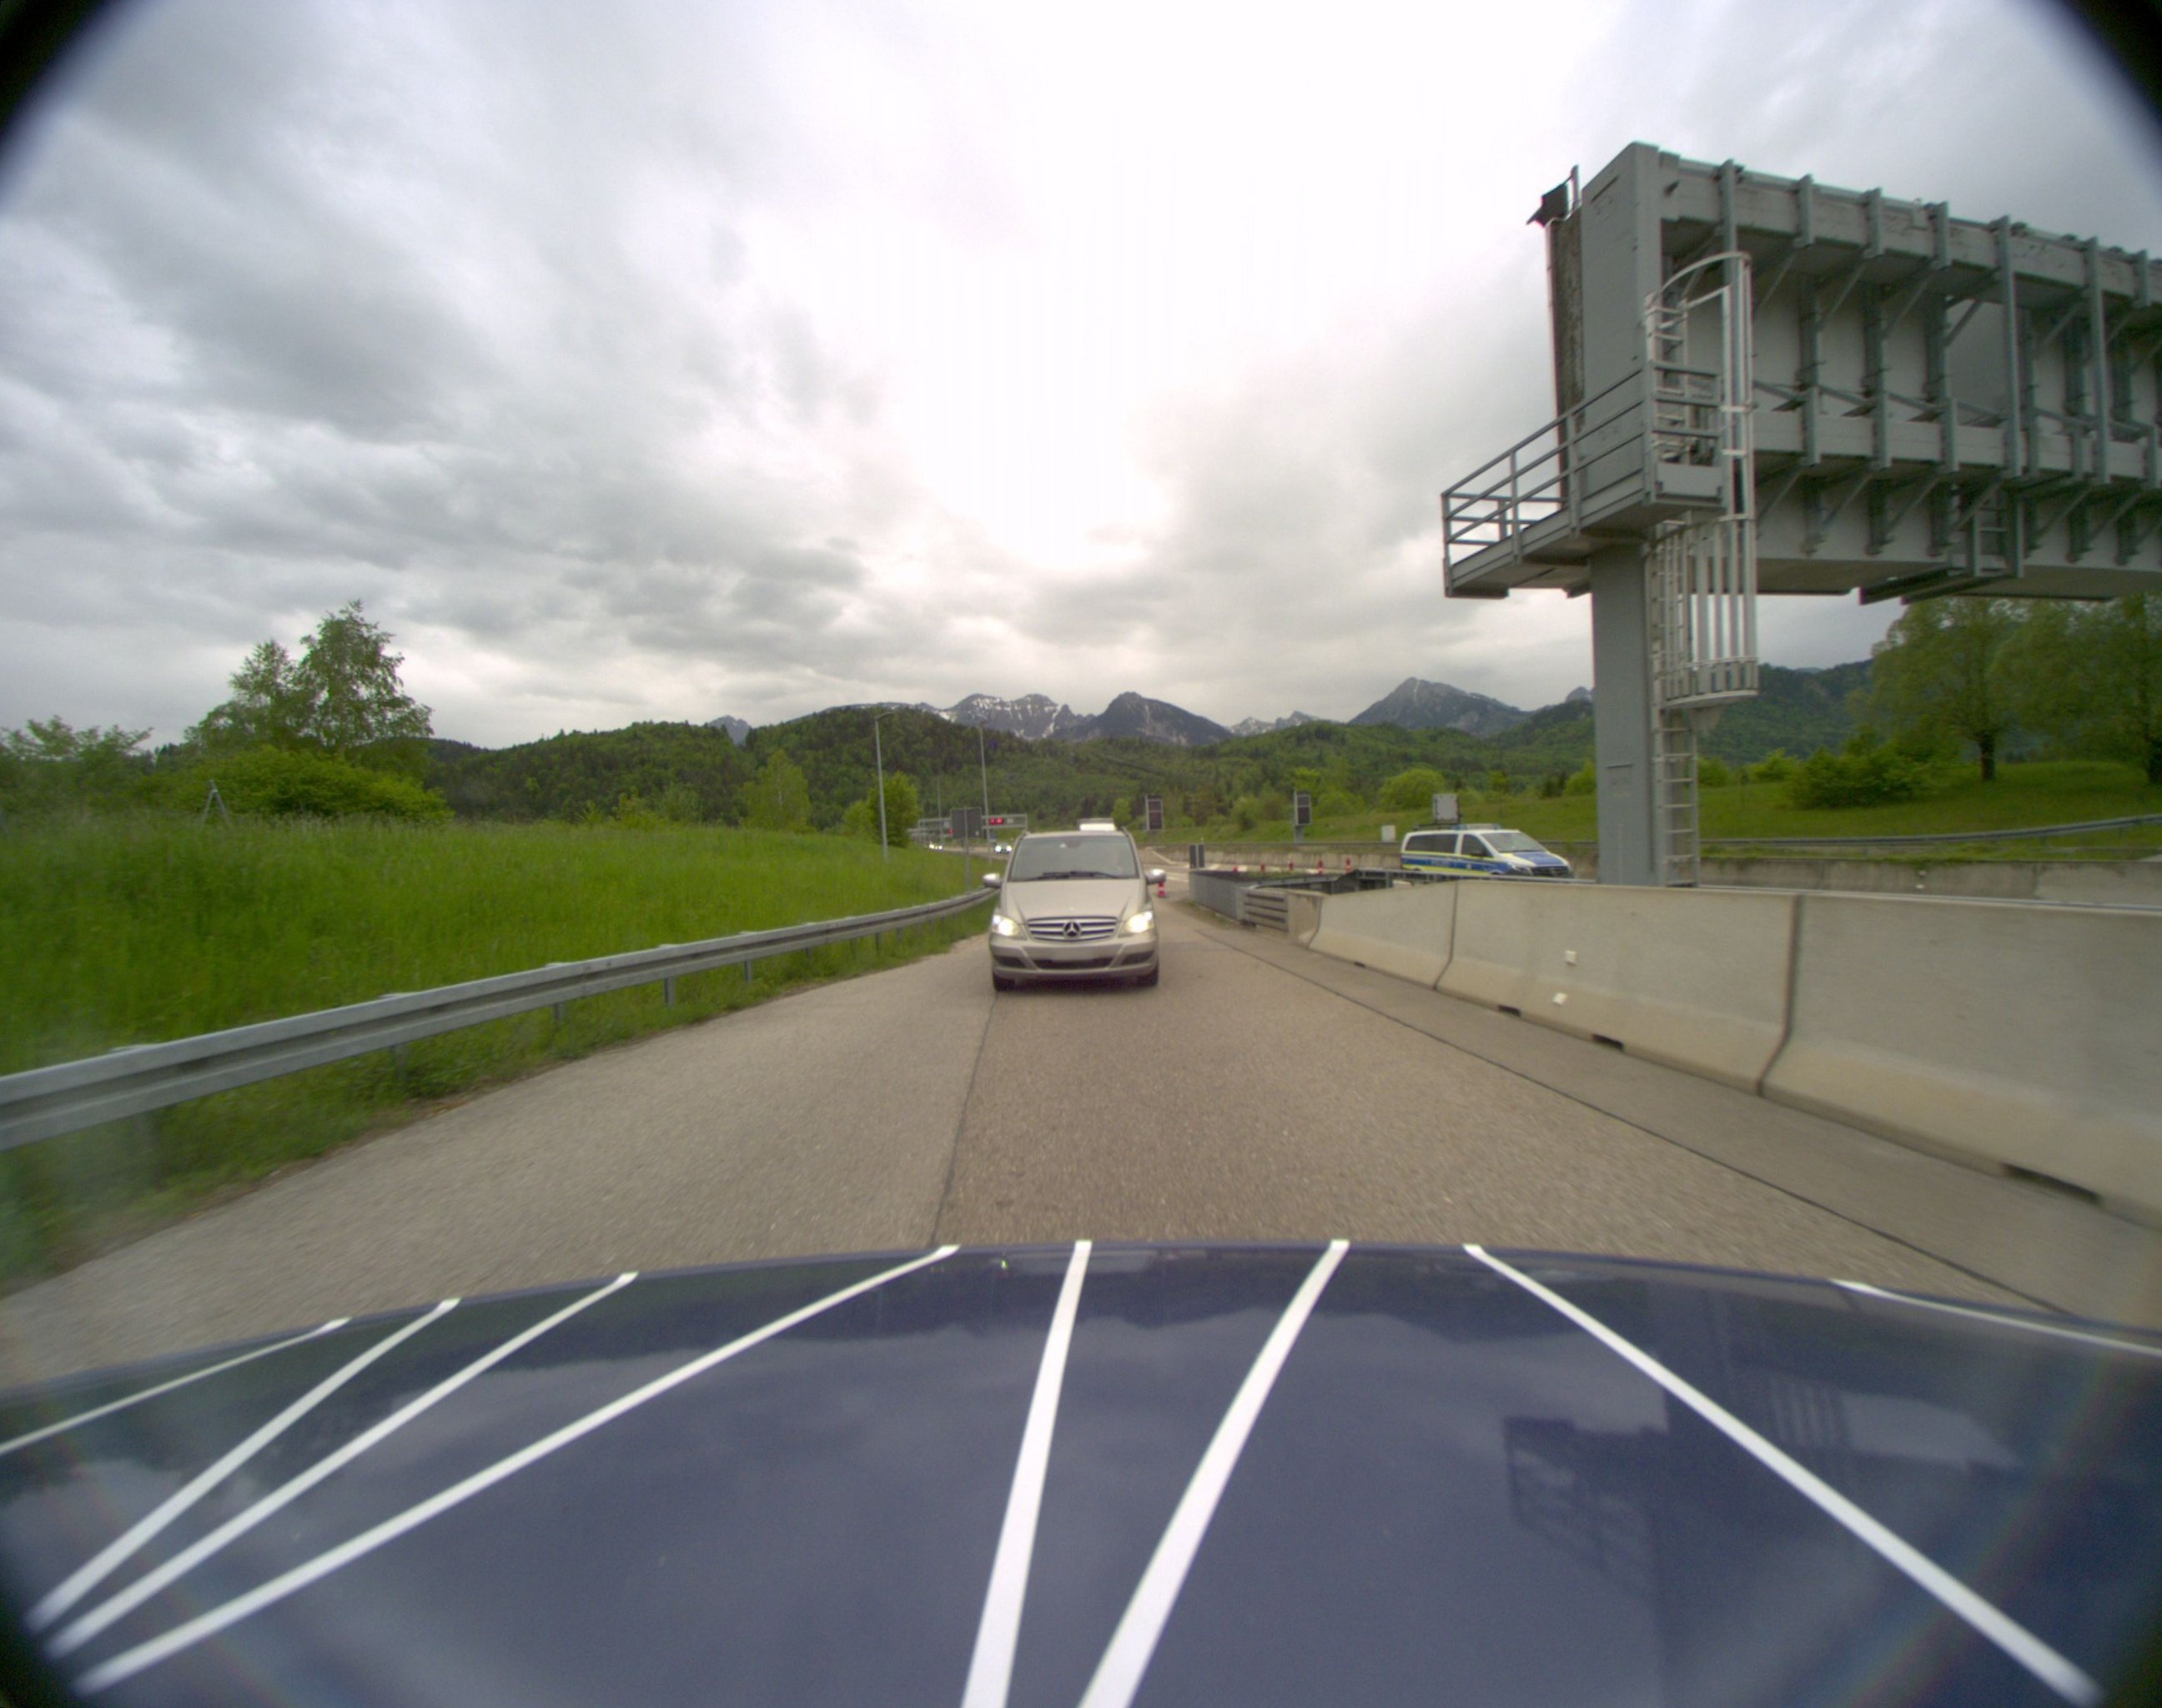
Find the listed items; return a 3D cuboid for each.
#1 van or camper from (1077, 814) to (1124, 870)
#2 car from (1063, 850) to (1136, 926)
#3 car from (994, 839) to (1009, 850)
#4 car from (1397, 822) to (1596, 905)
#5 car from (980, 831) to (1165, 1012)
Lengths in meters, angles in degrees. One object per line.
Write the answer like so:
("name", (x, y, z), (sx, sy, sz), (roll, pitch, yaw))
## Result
("van or camper", (1.191, -0.808, 50.082), (2.583, 3.372, 7.352), (-1, 1, -2))
("car", (0.470, 0.758, 18.974), (1.591, 1.662, 4.000), (-1, 0, 1))
("car", (-11.876, -1.456, 113.009), (1.722, 1.629, 4.343), (-1, 1, -12))
("car", (11.409, 0.198, 21.396), (2.106, 2.002, 5.045), (-2, 1, -13))
("car", (-0.048, 0.650, 10.603), (1.862, 1.834, 5.616), (-1, 1, 1))
